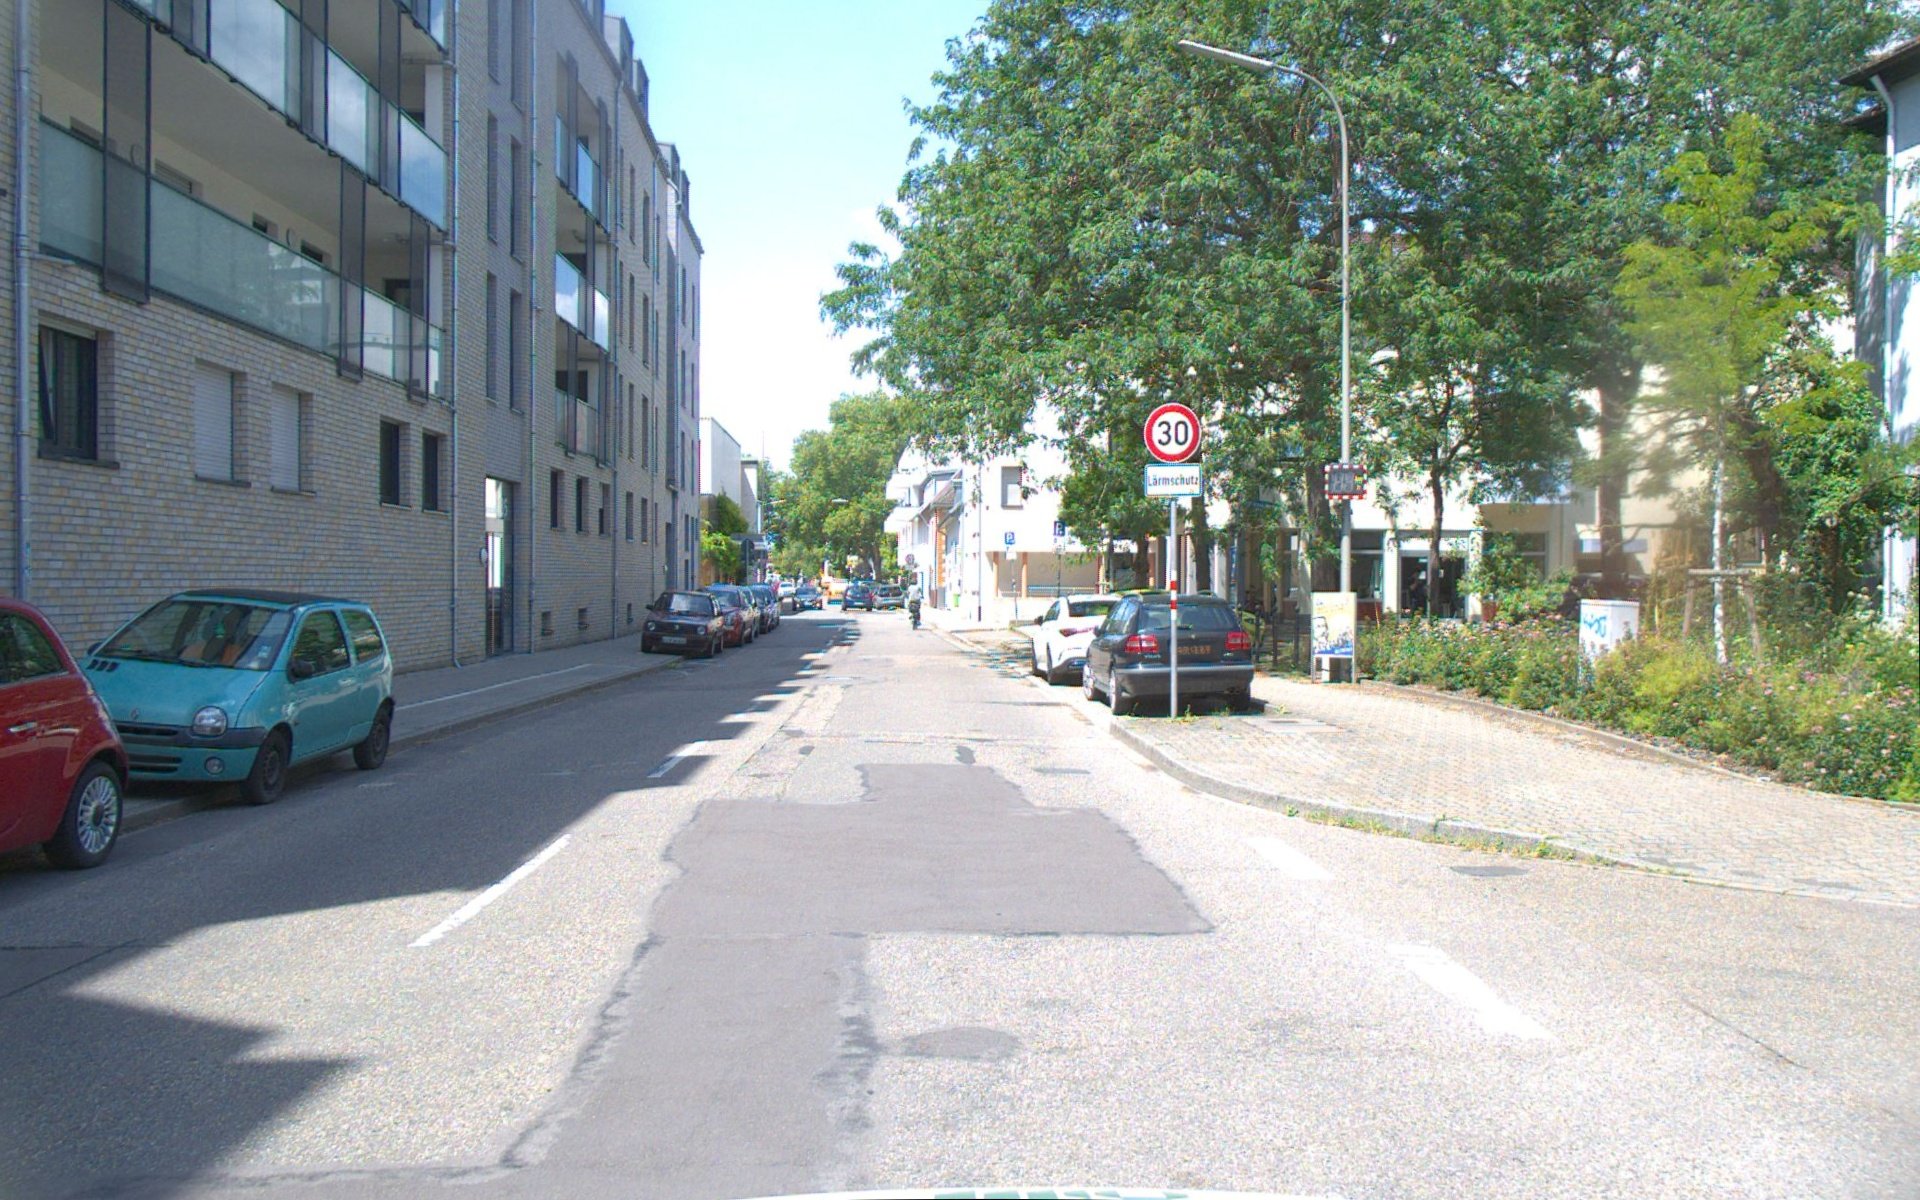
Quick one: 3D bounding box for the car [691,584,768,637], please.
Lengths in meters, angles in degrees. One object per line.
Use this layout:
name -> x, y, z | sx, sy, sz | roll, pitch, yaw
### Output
car -> -6.919, 0.276, 49.936 | 1.789, 1.445, 3.999 | 2, 1, -1

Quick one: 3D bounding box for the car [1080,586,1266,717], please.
car -> 2.612, 0.581, 21.147 | 1.658, 1.445, 3.998 | -2, 1, -3

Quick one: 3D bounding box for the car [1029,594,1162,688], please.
car -> 2.210, 0.634, 27.854 | 1.743, 1.445, 3.998 | 0, 0, -3

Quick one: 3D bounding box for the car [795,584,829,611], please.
car -> -8.895, -0.168, 99.886 | 1.954, 1.545, 3.997 | 0, 1, -4

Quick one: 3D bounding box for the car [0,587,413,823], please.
car -> -5.558, 0.678, 12.675 | 1.559, 1.481, 3.702 | 2, 1, -2

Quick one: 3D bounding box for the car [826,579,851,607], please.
car -> -9.303, -0.577, 126.665 | 1.802, 2.048, 3.998 | 0, 1, -4

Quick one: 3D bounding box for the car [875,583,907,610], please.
car -> -4.332, -0.230, 103.582 | 1.954, 1.646, 3.998 | 1, 0, -3

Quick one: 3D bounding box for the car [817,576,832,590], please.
car -> -19.284, -2.426, 235.996 | 2.114, 2.049, 3.996 | 0, 1, -5

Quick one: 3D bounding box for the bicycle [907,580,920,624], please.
bicycle -> -1.636, 0.068, 58.271 | 0.468, 1.516, 0.576 | 0, 0, -3

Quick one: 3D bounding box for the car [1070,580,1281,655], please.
car -> 4.607, 0.350, 35.877 | 4.289, 1.405, 2.000 | 2, 1, 0

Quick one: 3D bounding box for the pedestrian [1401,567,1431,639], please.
pedestrian -> 12.166, 0.067, 44.141 | 0.586, 1.891, 0.601 | 0, 0, 39

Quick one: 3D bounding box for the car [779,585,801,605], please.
car -> -17.088, -0.528, 166.785 | 1.953, 2.049, 3.998 | 0, 0, -3

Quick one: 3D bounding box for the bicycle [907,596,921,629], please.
bicycle -> -1.638, 0.431, 58.250 | 0.473, 1.134, 1.195 | 0, 0, -3

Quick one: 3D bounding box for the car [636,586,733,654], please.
car -> -6.296, 0.415, 38.137 | 1.697, 1.467, 3.998 | 0, 0, -2

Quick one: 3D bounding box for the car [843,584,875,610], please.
car -> -5.820, -0.217, 95.565 | 1.680, 1.426, 3.999 | 0, 1, -1

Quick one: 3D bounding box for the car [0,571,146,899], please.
car -> -5.386, 0.644, 7.649 | 1.559, 1.581, 3.569 | 1, 1, -2

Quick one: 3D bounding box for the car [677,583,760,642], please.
car -> -6.255, 0.286, 43.216 | 1.697, 1.467, 3.998 | 0, 0, -2
